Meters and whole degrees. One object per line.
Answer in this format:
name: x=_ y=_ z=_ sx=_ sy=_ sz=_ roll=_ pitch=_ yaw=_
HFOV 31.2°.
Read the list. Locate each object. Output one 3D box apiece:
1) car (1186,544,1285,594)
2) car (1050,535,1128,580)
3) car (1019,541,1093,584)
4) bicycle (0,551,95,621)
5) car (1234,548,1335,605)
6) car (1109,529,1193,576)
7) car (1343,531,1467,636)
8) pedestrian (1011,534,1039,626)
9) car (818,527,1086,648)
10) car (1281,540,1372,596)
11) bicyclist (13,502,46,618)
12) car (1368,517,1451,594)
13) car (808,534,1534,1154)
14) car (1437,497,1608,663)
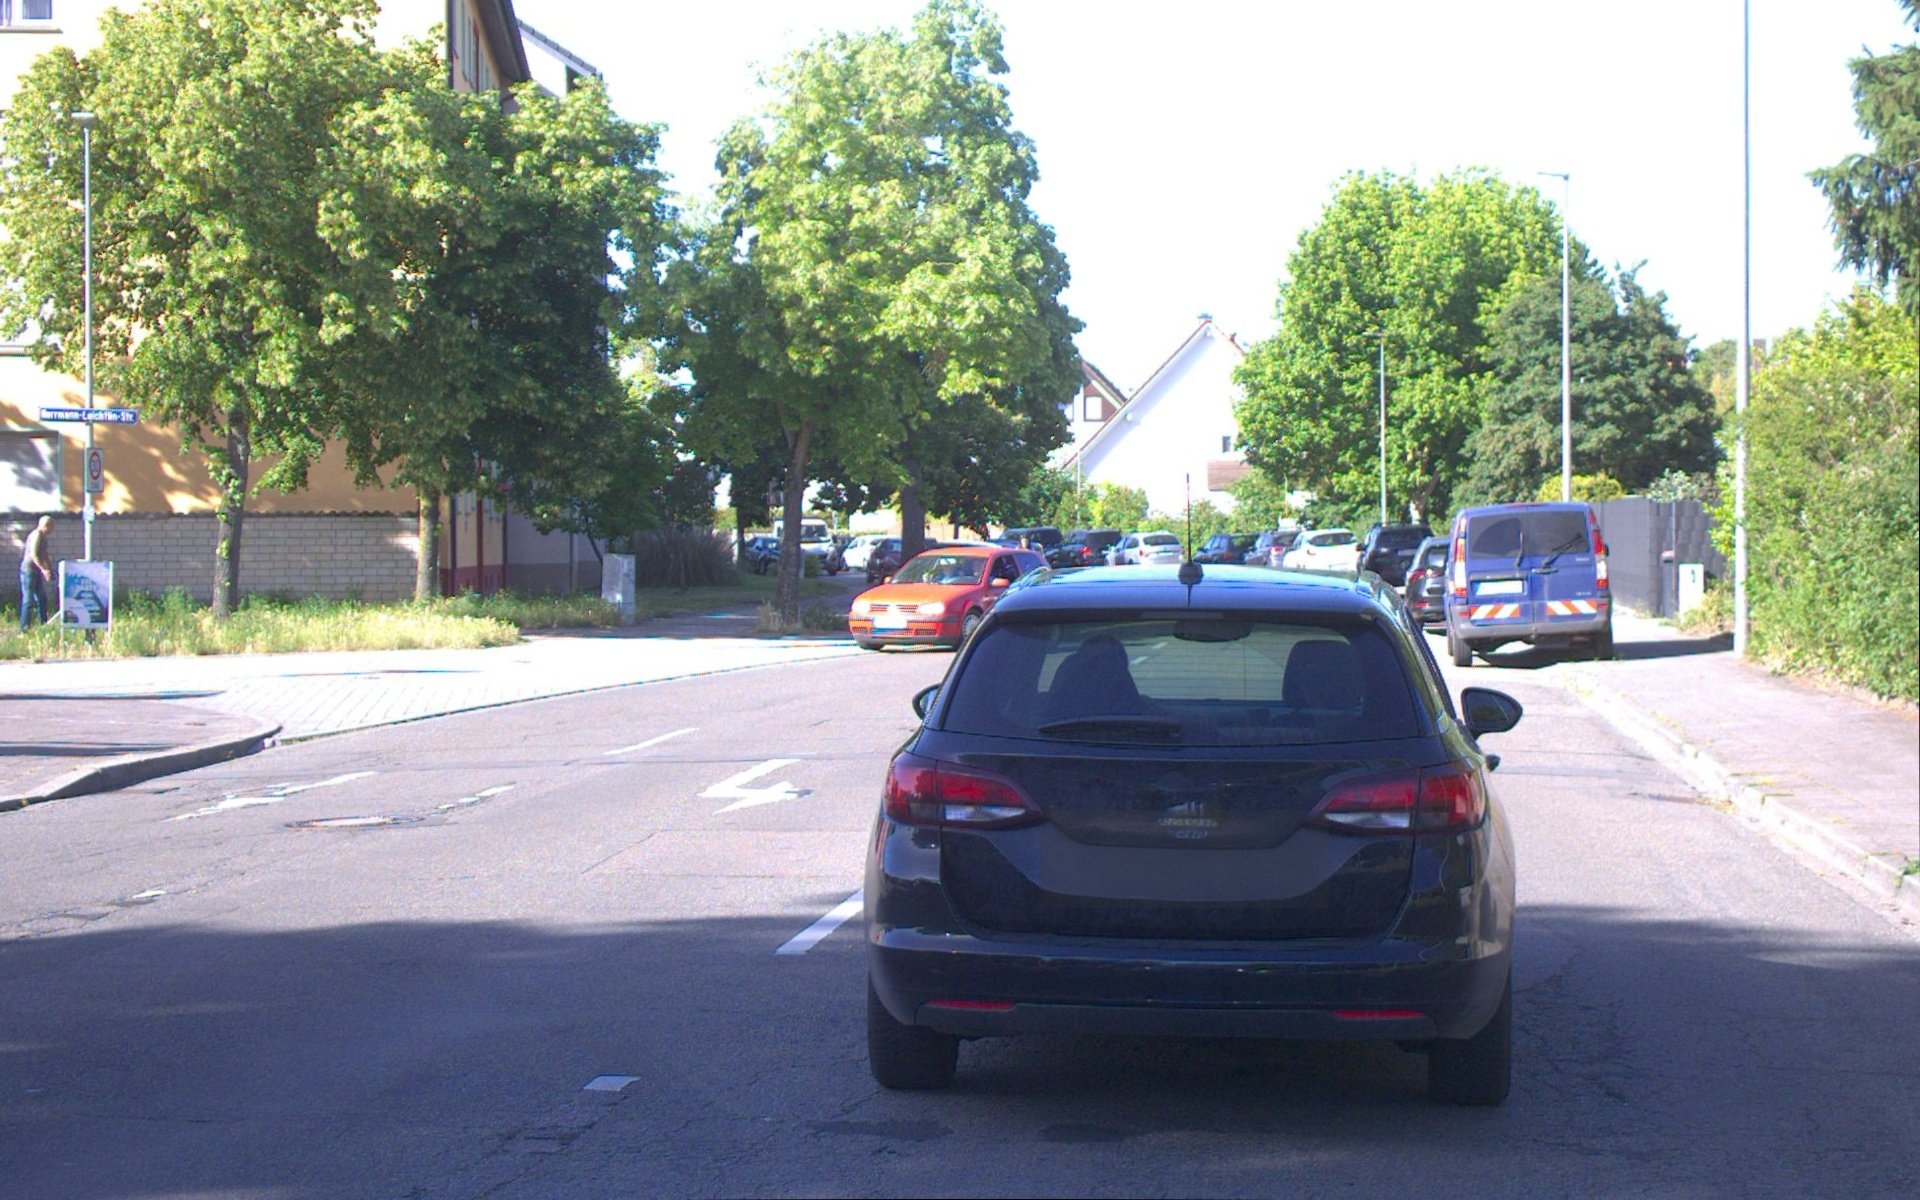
car: x=8.458 y=-0.949 z=105.828 sx=2.005 sy=1.470 sz=4.295 roll=-1 pitch=1 yaw=-10
car: x=4.493 y=-1.470 z=120.361 sx=1.819 sy=1.529 sz=4.260 roll=-1 pitch=1 yaw=-11
car: x=3.489 y=-1.373 z=125.811 sx=1.819 sy=1.529 sz=4.260 roll=-1 pitch=1 yaw=-11
bicycle: x=-13.556 y=-0.208 z=50.439 sx=1.617 sy=1.007 sz=0.406 roll=0 pitch=-1 yaw=-25
car: x=9.435 y=-0.679 z=100.259 sx=1.911 sy=1.595 sz=4.295 roll=-1 pitch=1 yaw=-9
car: x=6.367 y=-1.577 z=115.065 sx=1.819 sy=1.529 sz=4.260 roll=-1 pitch=1 yaw=-11
car: x=6.820 y=-0.289 z=52.942 sx=1.766 sy=1.475 sz=4.990 roll=-1 pitch=1 yaw=7
pedestrian: x=1.256 y=-0.382 z=66.160 sx=0.504 sy=1.755 sz=0.695 roll=-1 pitch=-1 yaw=3
car: x=-0.057 y=-0.216 z=48.485 sx=2.015 sy=1.563 sz=4.387 roll=2 pitch=2 yaw=26
car: x=10.142 y=-0.885 z=95.503 sx=1.760 sy=1.475 sz=4.295 roll=-1 pitch=1 yaw=-4
bicyclist: x=-13.641 y=-0.586 z=50.415 sx=0.388 sy=1.680 sz=0.382 roll=0 pitch=-1 yaw=-25
car: x=10.382 y=-1.019 z=79.620 sx=1.778 sy=1.718 sz=4.293 roll=-1 pitch=1 yaw=6
car: x=0.717 y=0.572 z=10.572 sx=1.762 sy=1.486 sz=4.290 roll=1 pitch=1 yaw=6
car: x=6.805 y=-0.280 z=41.970 sx=1.837 sy=1.901 sz=4.697 roll=0 pitch=1 yaw=7
